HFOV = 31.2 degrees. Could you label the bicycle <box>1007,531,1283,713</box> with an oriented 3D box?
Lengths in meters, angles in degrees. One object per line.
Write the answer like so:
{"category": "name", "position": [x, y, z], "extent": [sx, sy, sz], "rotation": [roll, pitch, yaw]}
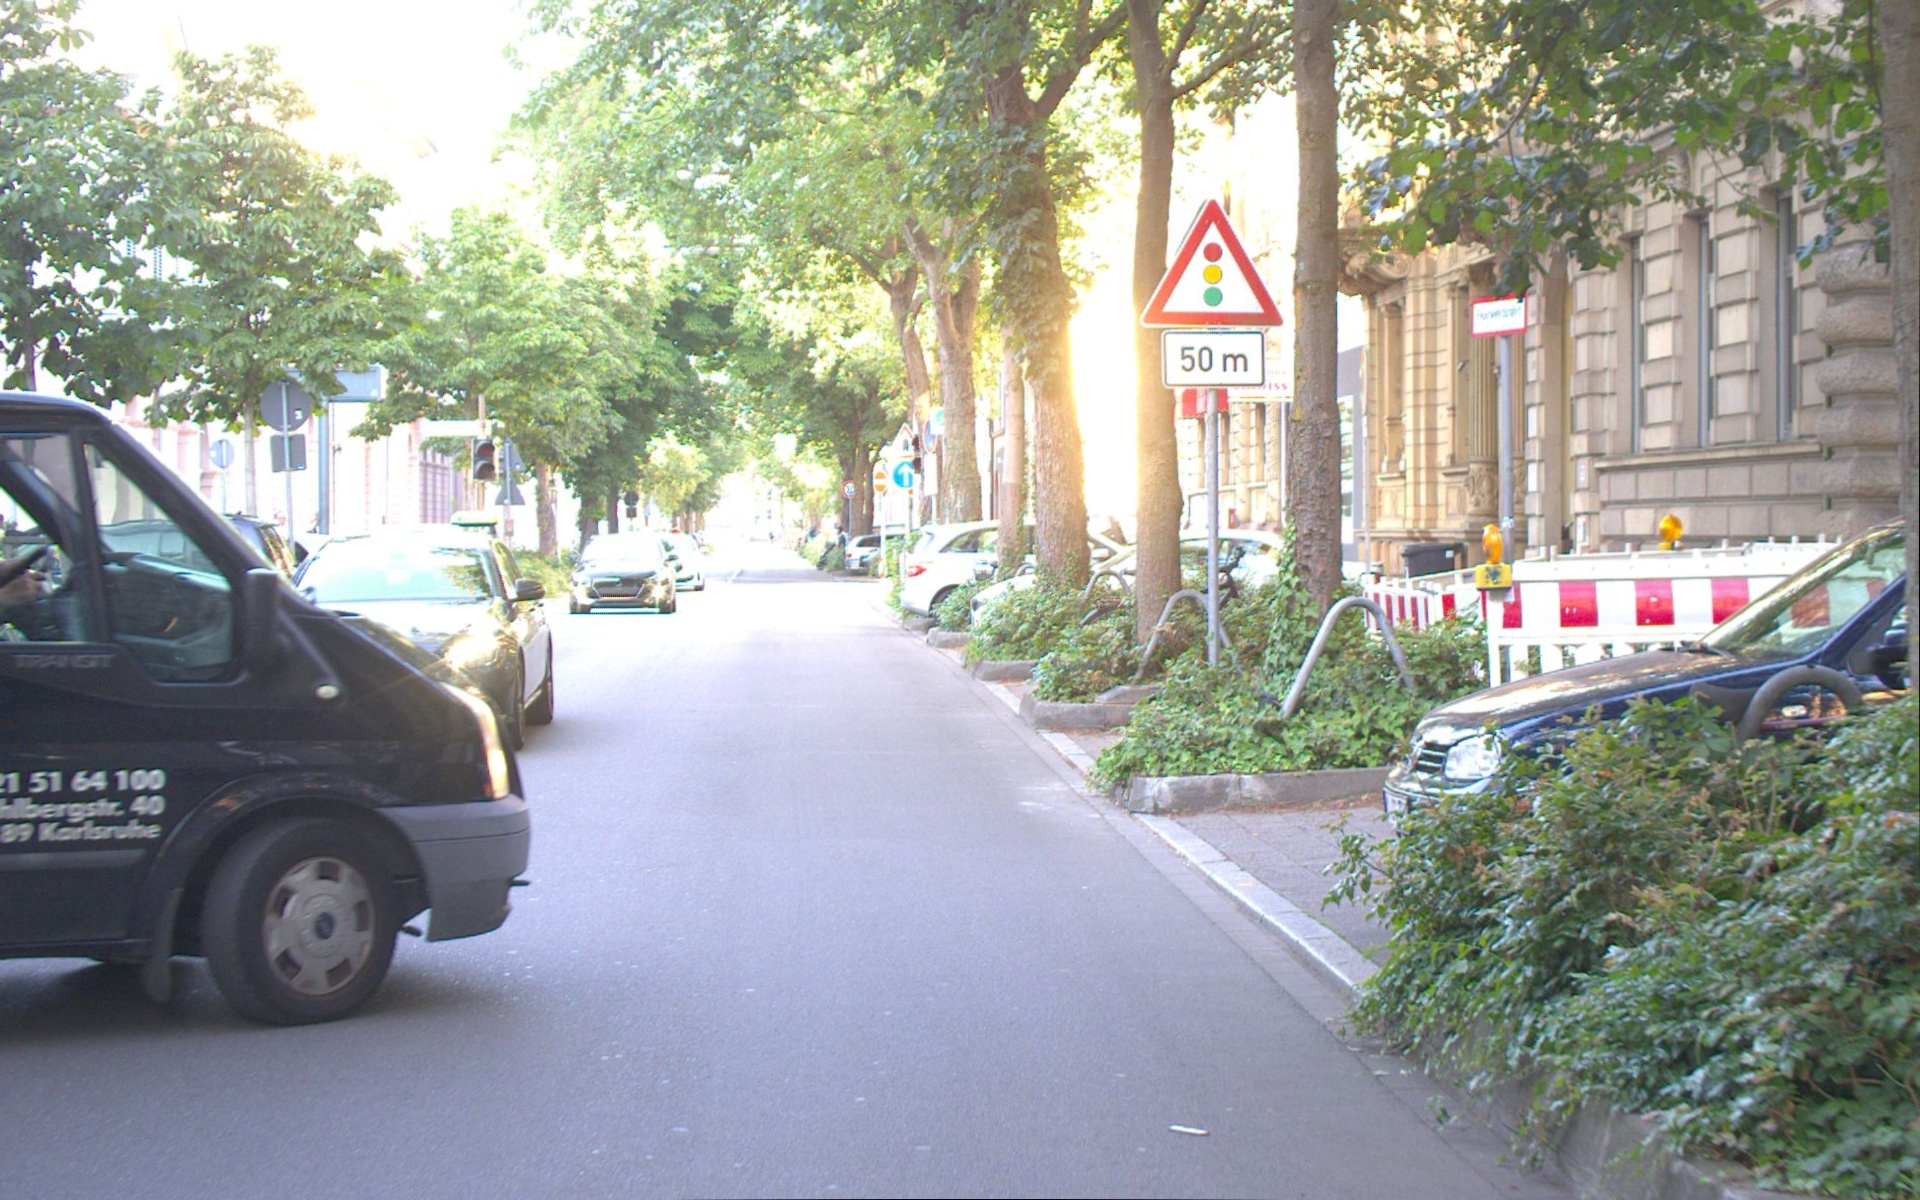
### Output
{"category": "bicycle", "position": [1.427, 0.166, 26.647], "extent": [2.046, 1.356, 0.508], "rotation": [1, 1, -5]}

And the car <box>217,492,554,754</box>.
{"category": "car", "position": [-3.915, 0.093, 24.133], "extent": [1.876, 1.635, 4.647], "rotation": [-1, 1, -4]}

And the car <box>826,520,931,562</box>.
{"category": "car", "position": [-3.191, -2.320, 134.506], "extent": [4.014, 1.617, 1.781], "rotation": [-1, 1, -4]}

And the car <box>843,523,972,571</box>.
{"category": "car", "position": [-1.776, -1.759, 114.316], "extent": [4.192, 1.475, 1.852], "rotation": [-2, 1, -3]}

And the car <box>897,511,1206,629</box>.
{"category": "car", "position": [1.257, -0.439, 48.191], "extent": [4.224, 1.555, 1.971], "rotation": [-1, 2, 0]}

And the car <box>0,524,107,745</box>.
{"category": "car", "position": [-8.319, 0.165, 24.419], "extent": [4.029, 1.489, 1.780], "rotation": [2, 1, 1]}

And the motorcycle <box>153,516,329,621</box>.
{"category": "motorcycle", "position": [-9.852, -0.430, 47.130], "extent": [2.150, 1.414, 0.967], "rotation": [0, 1, 19]}

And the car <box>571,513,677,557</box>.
{"category": "car", "position": [-16.363, -3.185, 167.606], "extent": [5.063, 2.076, 2.263], "rotation": [-1, 1, -3]}

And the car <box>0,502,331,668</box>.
{"category": "car", "position": [-8.726, -0.181, 35.579], "extent": [4.092, 1.626, 1.936], "rotation": [1, 1, -2]}

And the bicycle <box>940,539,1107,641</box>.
{"category": "bicycle", "position": [0.806, -0.137, 43.449], "extent": [2.019, 1.200, 0.488], "rotation": [-2, 1, -15]}

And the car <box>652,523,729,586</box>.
{"category": "car", "position": [-6.876, -1.181, 87.915], "extent": [1.876, 1.543, 4.276], "rotation": [-1, 1, -4]}

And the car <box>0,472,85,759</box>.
{"category": "car", "position": [-8.185, 0.033, 22.011], "extent": [4.665, 1.759, 2.157], "rotation": [1, 1, -3]}

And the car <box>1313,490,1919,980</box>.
{"category": "car", "position": [3.500, 0.355, 11.986], "extent": [4.223, 1.476, 1.855], "rotation": [-3, 1, -3]}

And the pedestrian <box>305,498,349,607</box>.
{"category": "pedestrian", "position": [-10.742, -0.813, 58.335], "extent": [0.554, 1.844, 0.611], "rotation": [0, 1, 11]}

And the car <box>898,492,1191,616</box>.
{"category": "car", "position": [1.341, -0.758, 55.811], "extent": [4.539, 1.908, 1.951], "rotation": [-1, 1, -5]}

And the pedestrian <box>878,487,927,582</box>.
{"category": "pedestrian", "position": [-1.313, -1.480, 77.909], "extent": [1.043, 2.139, 1.064], "rotation": [1, 0, -2]}

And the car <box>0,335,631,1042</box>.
{"category": "car", "position": [-3.723, 0.229, 10.318], "extent": [4.989, 1.984, 2.190], "rotation": [-1, 2, -28]}

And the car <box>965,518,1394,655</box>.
{"category": "car", "position": [2.364, -0.170, 37.953], "extent": [4.583, 1.432, 1.925], "rotation": [0, 1, -1]}

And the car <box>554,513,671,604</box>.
{"category": "car", "position": [-6.196, -0.768, 61.697], "extent": [1.876, 1.543, 4.276], "rotation": [-1, 1, -3]}
